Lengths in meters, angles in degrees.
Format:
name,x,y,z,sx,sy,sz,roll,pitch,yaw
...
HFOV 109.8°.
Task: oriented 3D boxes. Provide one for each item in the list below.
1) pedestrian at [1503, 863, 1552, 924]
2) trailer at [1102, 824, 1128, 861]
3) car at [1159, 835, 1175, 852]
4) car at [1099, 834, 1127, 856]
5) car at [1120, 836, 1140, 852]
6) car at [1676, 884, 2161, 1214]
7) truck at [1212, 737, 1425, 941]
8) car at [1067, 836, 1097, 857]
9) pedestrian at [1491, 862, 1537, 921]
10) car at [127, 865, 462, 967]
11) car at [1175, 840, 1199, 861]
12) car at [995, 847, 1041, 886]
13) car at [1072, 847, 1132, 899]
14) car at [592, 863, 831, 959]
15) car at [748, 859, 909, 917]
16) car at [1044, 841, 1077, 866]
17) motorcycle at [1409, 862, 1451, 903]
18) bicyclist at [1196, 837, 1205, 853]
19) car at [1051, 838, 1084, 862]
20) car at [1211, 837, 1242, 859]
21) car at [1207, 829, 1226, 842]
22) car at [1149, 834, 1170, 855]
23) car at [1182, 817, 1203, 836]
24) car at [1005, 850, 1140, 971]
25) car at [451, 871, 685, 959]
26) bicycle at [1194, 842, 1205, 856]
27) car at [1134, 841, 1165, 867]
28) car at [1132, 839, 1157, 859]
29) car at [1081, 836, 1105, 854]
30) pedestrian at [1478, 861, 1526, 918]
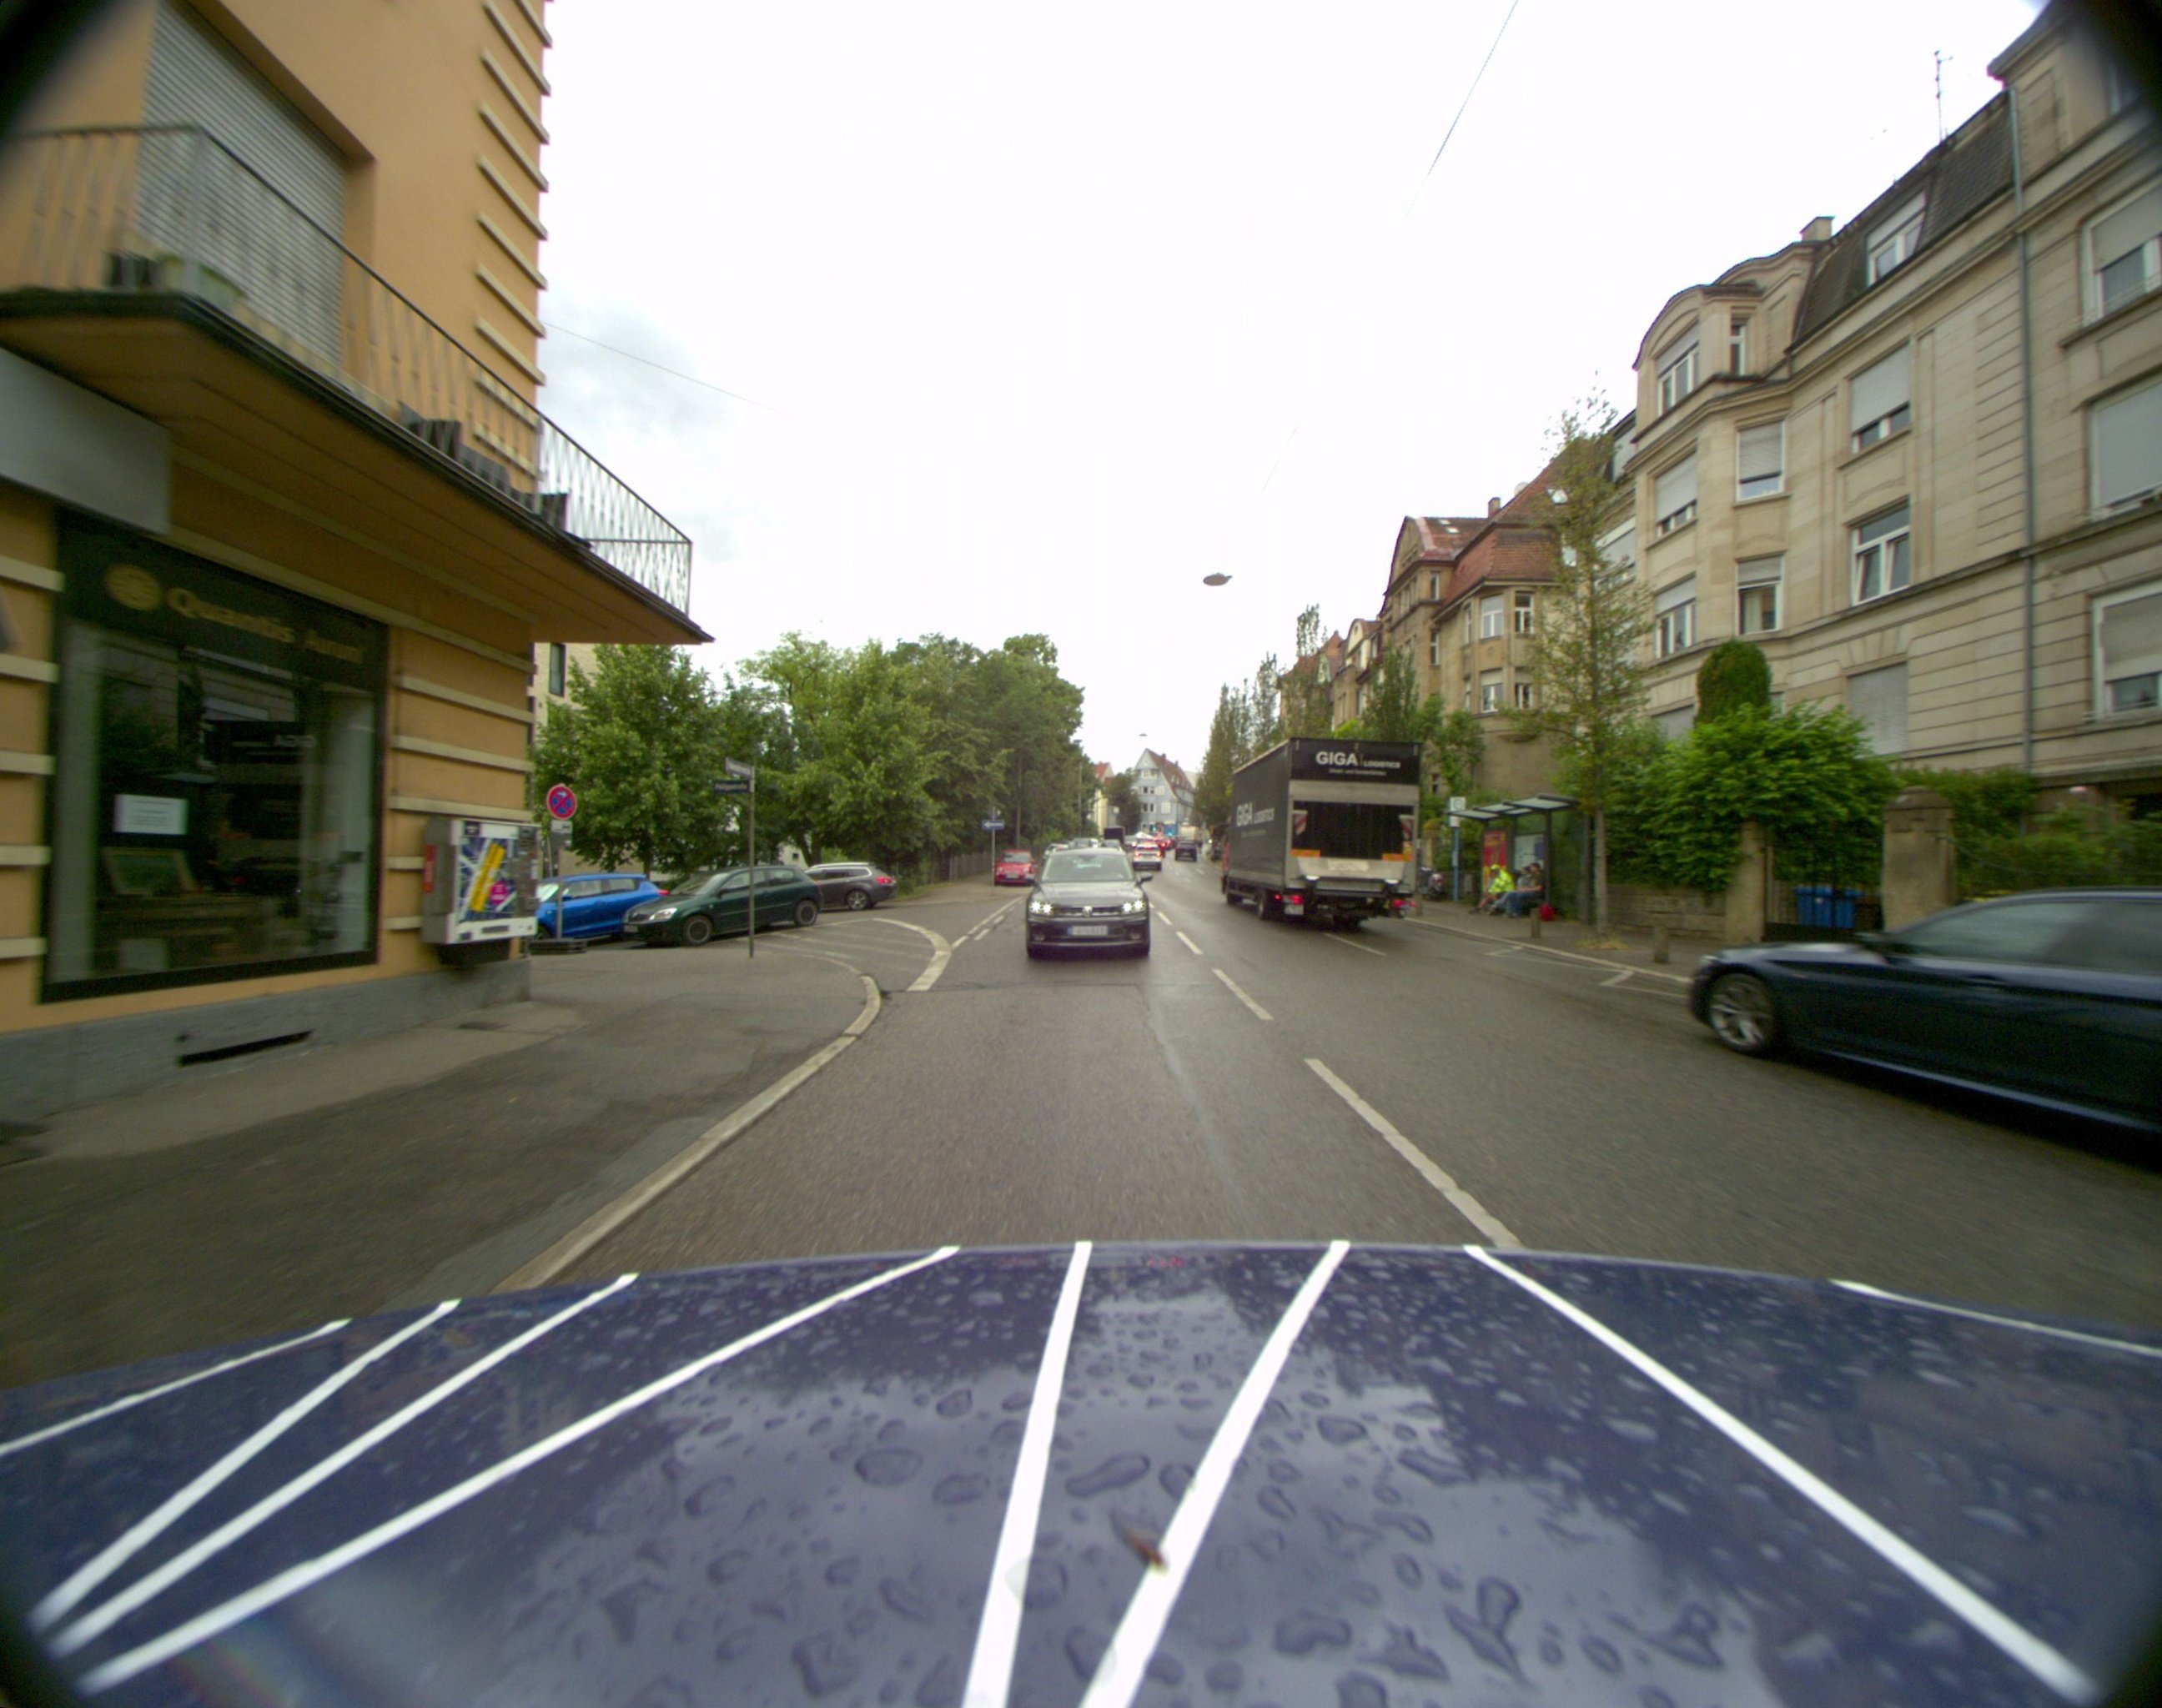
name,x,y,z,sx,sy,sz,roll,pitch,yaw
pedestrian,10.870,0.953,18.527,0.768,1.424,0.649,1,2,3
trailer,2.905,-0.973,64.136,1.966,3.024,2.365,-1,1,6
car,9.484,-1.201,83.719,1.655,1.698,4.114,3,2,7
car,2.599,-0.718,61.310,1.924,1.641,4.136,-1,1,6
car,5.301,-1.102,81.520,1.924,1.641,4.136,-1,1,6
car,6.101,1.042,4.236,1.776,1.459,4.747,3,0,0
truck,5.365,-0.340,19.300,2.654,3.832,9.307,2,1,2
car,0.137,-0.708,67.563,1.971,1.642,4.816,4,3,6
pedestrian,10.857,0.931,19.075,0.768,1.424,0.649,1,2,3
car,-16.143,1.161,15.963,1.704,1.714,4.547,-1,0,25
car,8.716,-0.347,62.593,1.747,1.509,3.869,4,3,7
car,-2.697,0.506,33.400,1.613,1.493,3.957,2,1,1
car,0.714,0.588,27.150,1.925,1.641,4.485,-1,1,1
car,-7.646,1.080,16.128,1.850,1.461,4.116,-2,3,32
car,-7.710,1.019,23.556,4.280,1.489,2.002,-3,-1,-4
car,-1.357,-0.075,52.405,1.745,1.455,4.884,4,1,4
motorcycle,11.293,0.907,24.641,0.657,1.230,1.763,1,1,4
bicyclist,11.207,-0.848,71.445,0.657,1.548,0.990,1,2,-2
car,-0.971,-0.338,57.810,1.924,1.642,4.884,4,1,5
car,11.435,-0.514,59.817,2.000,1.587,3.828,-3,1,6
car,23.559,-3.238,132.354,2.132,2.015,5.417,3,1,21
car,6.916,-0.865,66.787,1.655,1.698,4.114,3,2,7
car,15.583,-3.778,105.815,2.133,2.492,5.414,3,1,14
car,0.071,0.760,13.088,1.859,1.641,5.196,0,0,4
car,-10.525,1.170,15.863,1.704,1.483,3.643,-1,0,27
bicycle,11.201,-0.460,71.585,0.657,1.228,1.981,1,1,-1
car,4.161,-0.038,46.461,1.776,1.509,4.100,1,1,4
car,5.052,-0.392,60.116,1.715,1.471,4.115,3,1,7
car,1.172,-0.938,74.195,1.924,1.552,4.012,4,2,5
pedestrian,10.875,0.910,19.631,0.768,1.424,0.759,1,2,0
